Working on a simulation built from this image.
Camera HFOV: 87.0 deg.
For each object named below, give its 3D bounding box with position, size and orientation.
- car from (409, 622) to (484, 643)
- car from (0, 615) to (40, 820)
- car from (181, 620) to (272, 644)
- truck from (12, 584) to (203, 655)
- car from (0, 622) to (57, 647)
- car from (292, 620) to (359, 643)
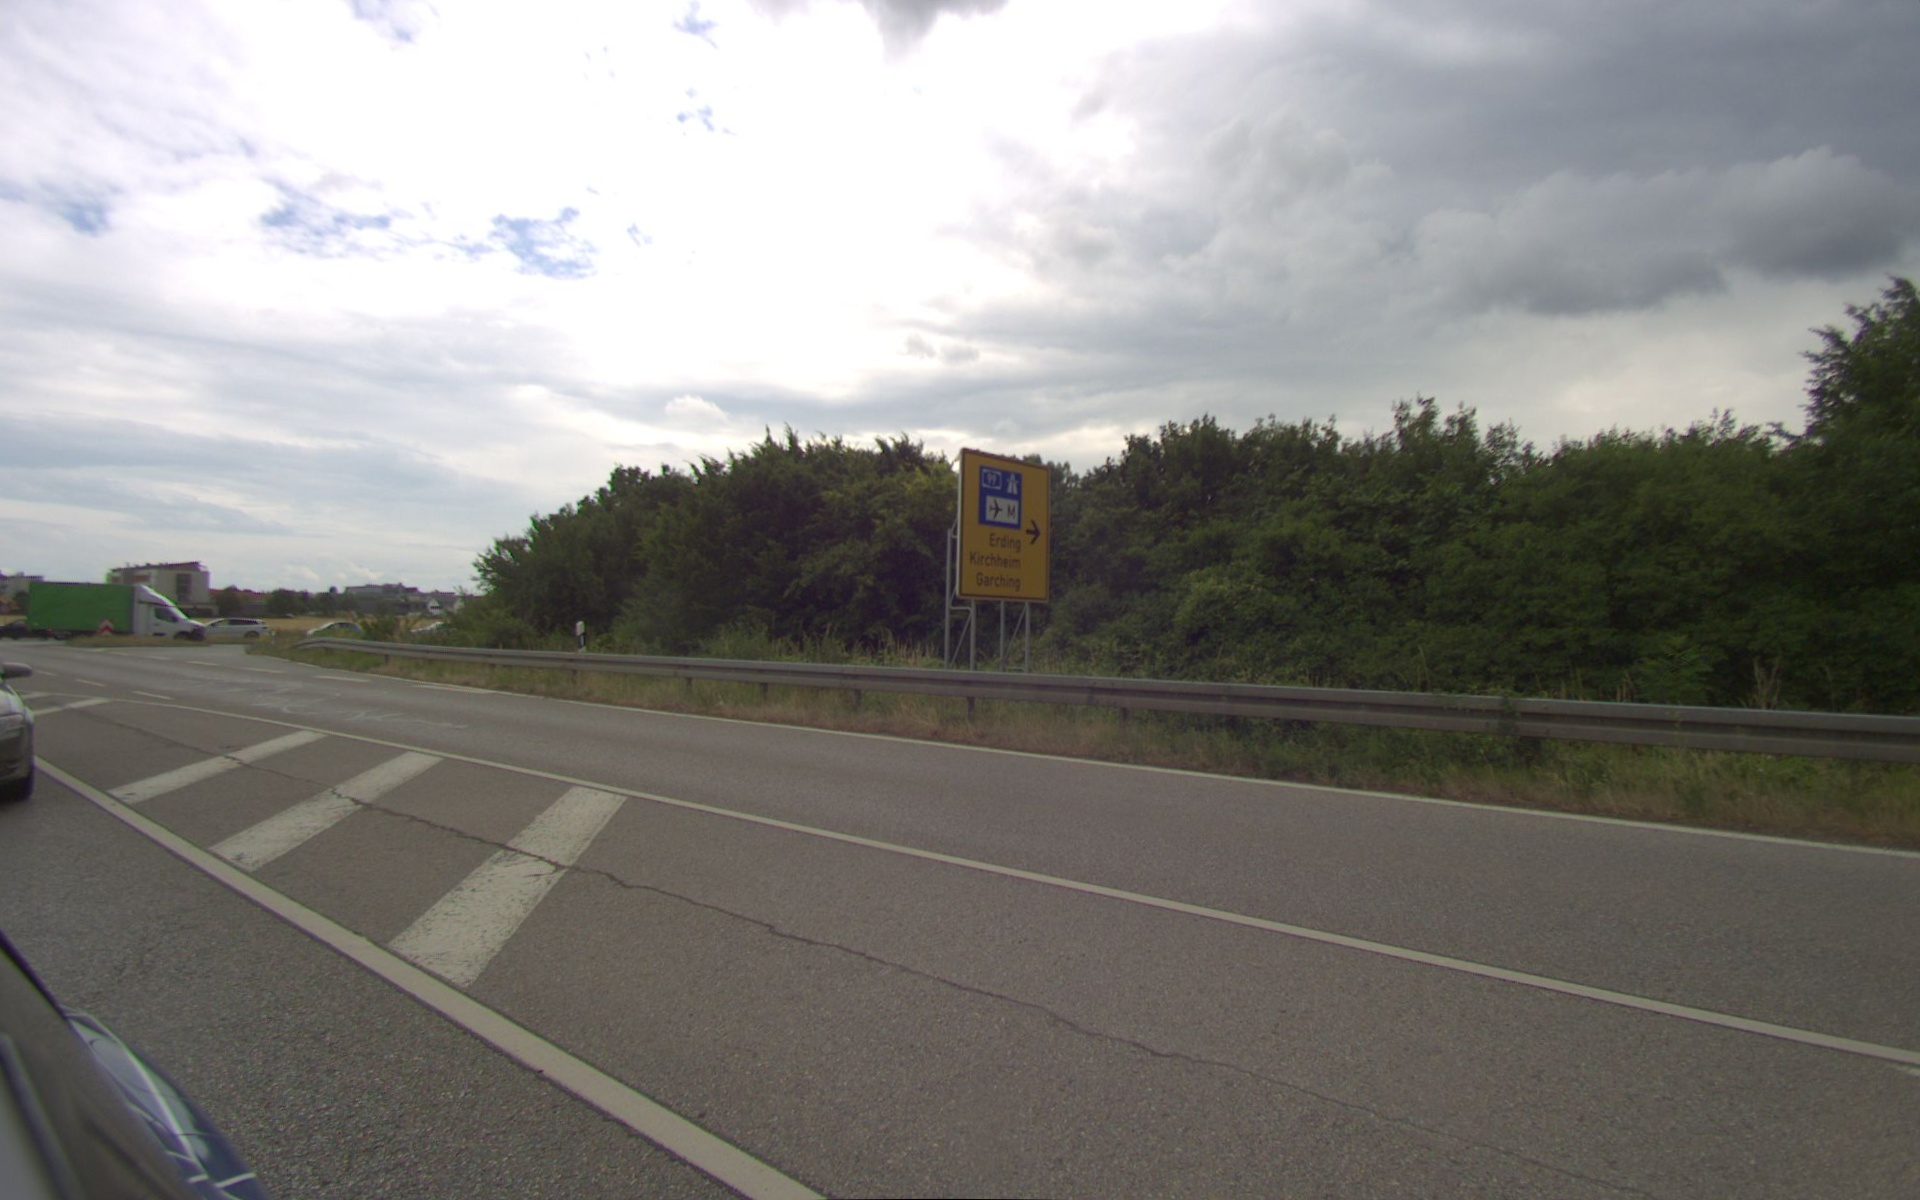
[{"bbox_3d":[-37.779,2.371,74.508,4.606,1.510,2.003,1,-2,-41],"label":"car"},{"bbox_3d":[-8.823,0.862,8.055,4.201,1.455,1.708,-1,-1,40],"label":"car"},{"bbox_3d":[-47.606,2.041,65.730,4.608,1.510,2.002,1,-2,-43],"label":"car"},{"bbox_3d":[-45.668,0.968,54.577,7.475,3.589,2.942,-1,0,-30],"label":"truck"},{"bbox_3d":[-58.334,2.123,62.739,3.809,1.501,1.987,0,-1,20],"label":"car"},{"bbox_3d":[-43.408,2.146,69.263,3.662,1.510,1.732,1,-2,-43],"label":"car"}]
